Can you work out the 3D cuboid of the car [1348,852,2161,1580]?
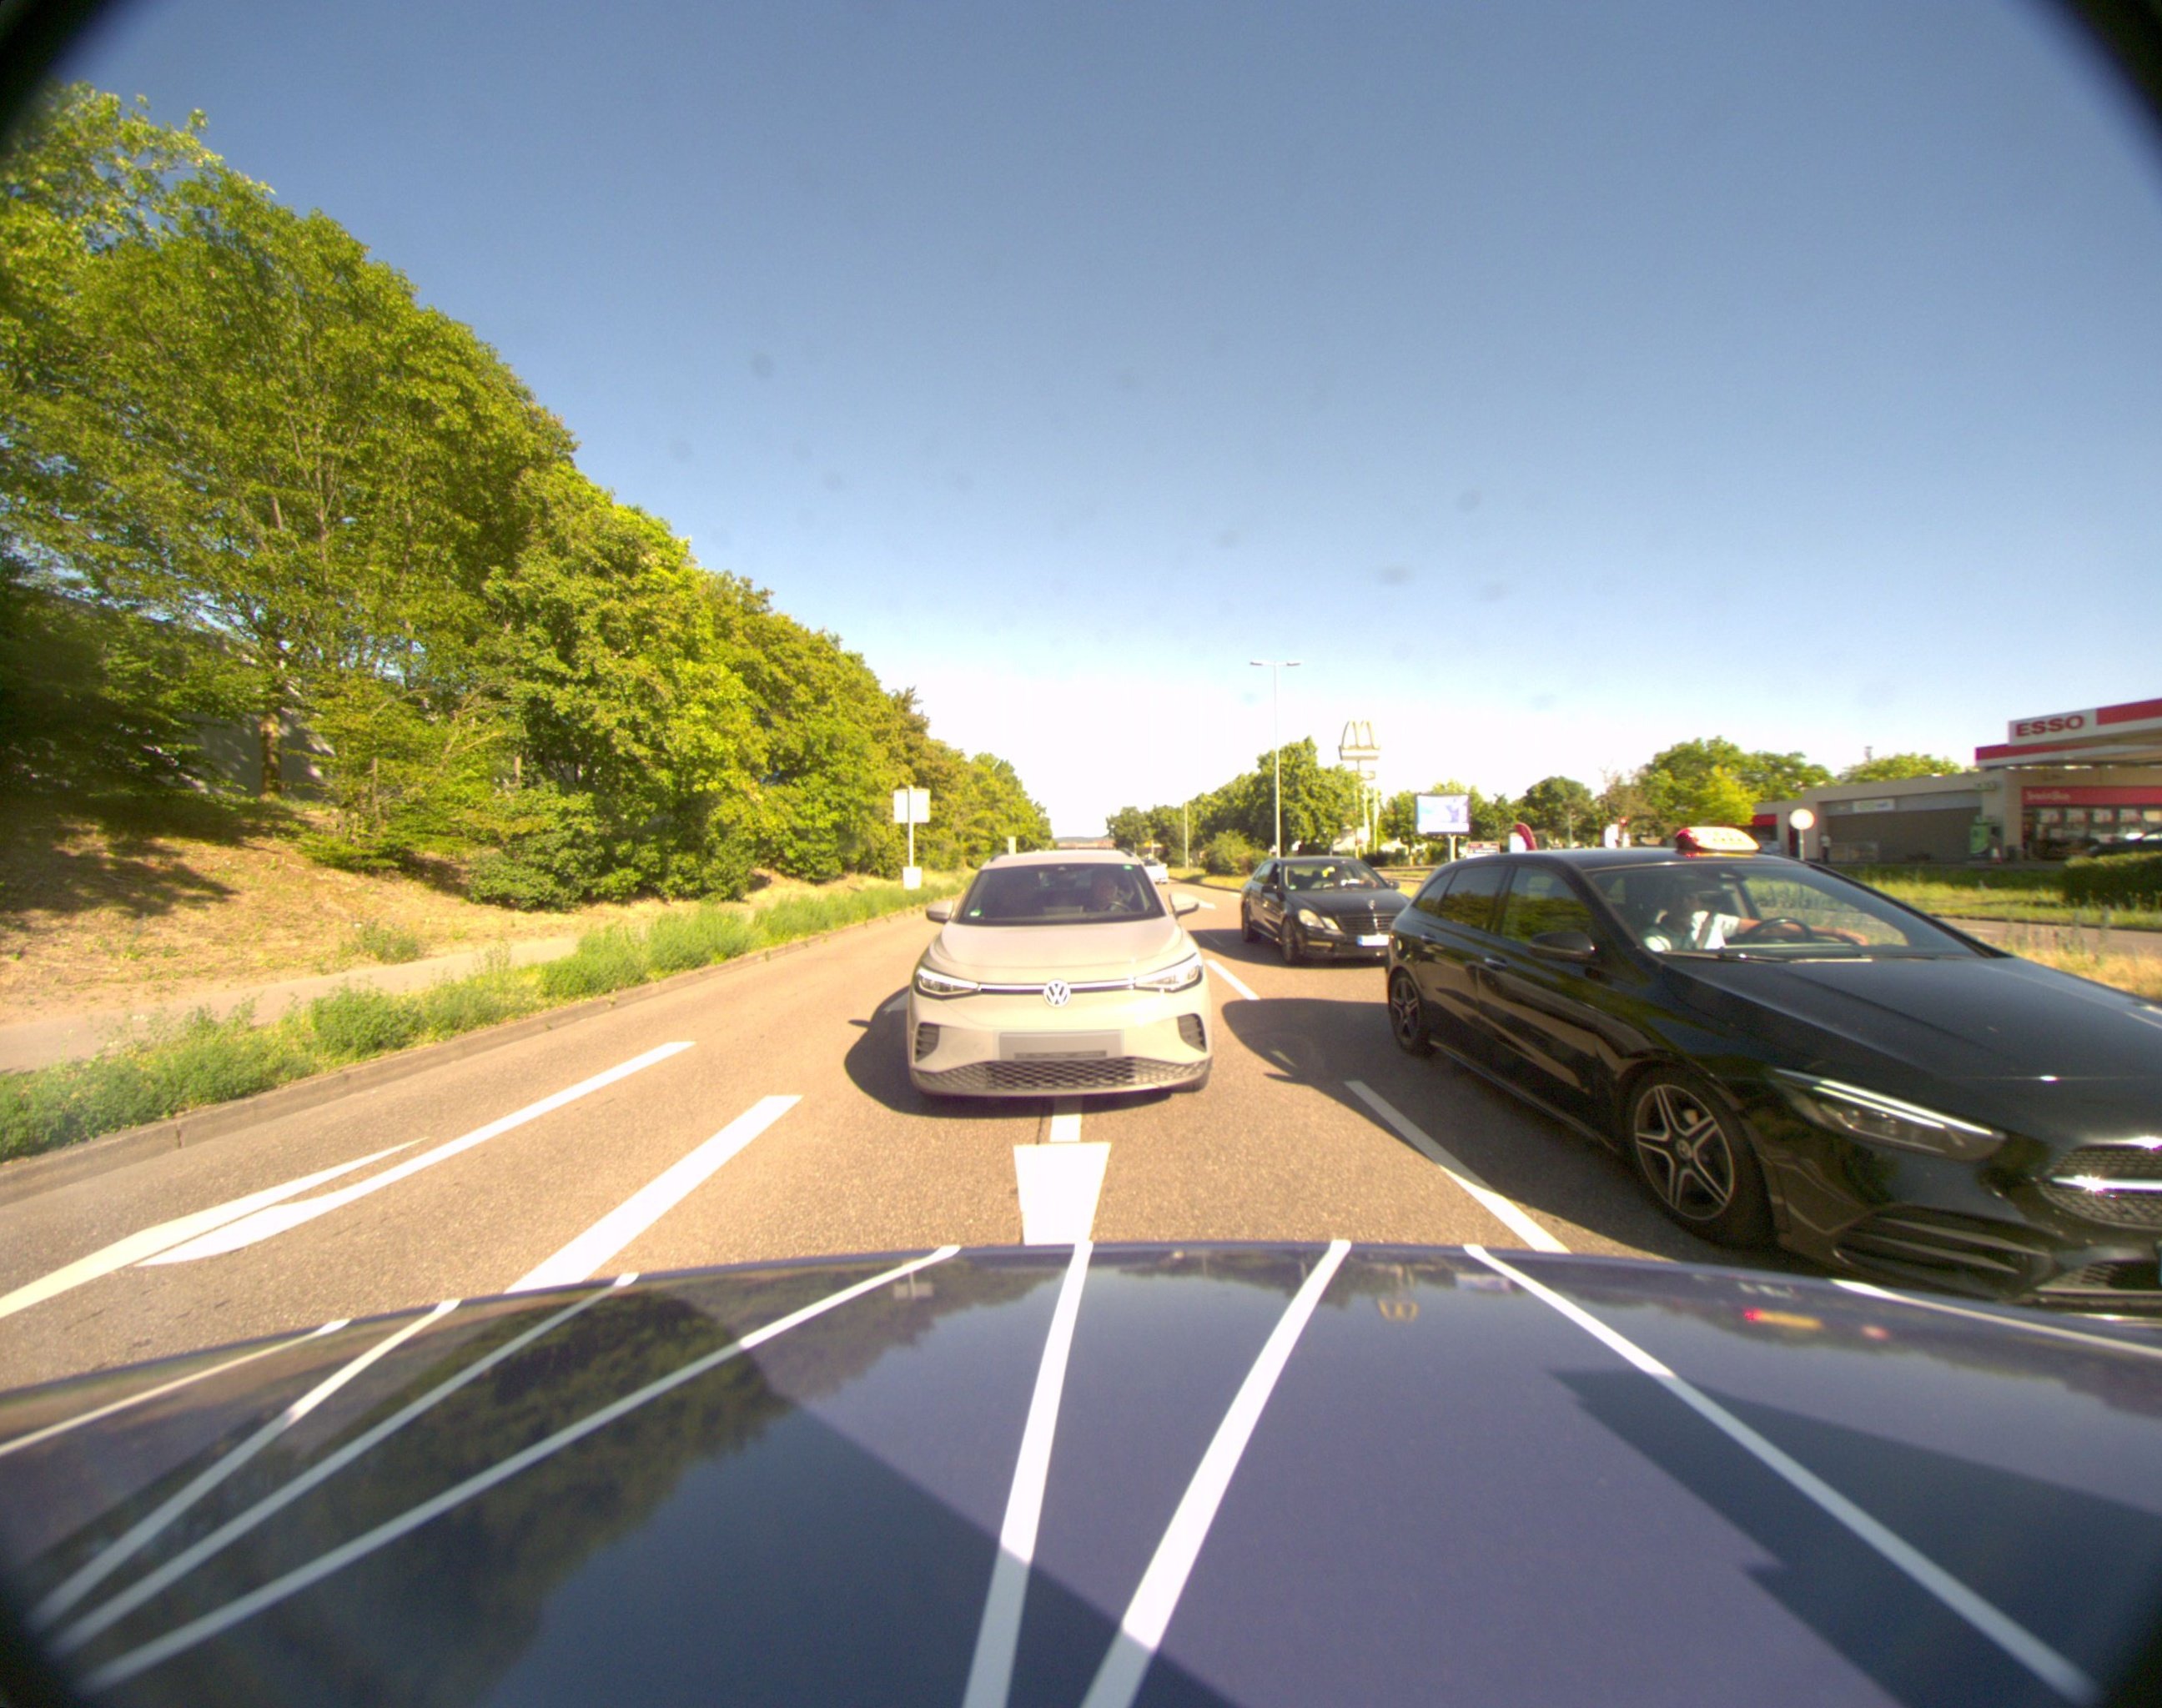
[{"bbox_3d":[3.128,0.813,3.999,1.788,1.592,4.583,-2,0,0],"label":"car"}]

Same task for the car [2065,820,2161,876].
[{"bbox_3d":[35.894,-0.219,24.863,1.807,1.716,4.322,-4,0,2],"label":"car"}]

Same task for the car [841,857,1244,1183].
[{"bbox_3d":[-0.173,0.869,5.974,2.025,1.601,4.098,-2,0,1],"label":"car"}]

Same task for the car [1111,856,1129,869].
[{"bbox_3d":[4.507,0.996,87.603,1.998,1.433,4.001,-1,0,2],"label":"car"}]

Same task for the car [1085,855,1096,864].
[{"bbox_3d":[1.662,0.908,132.356,1.998,1.433,4.000,-1,0,1],"label":"car"}]

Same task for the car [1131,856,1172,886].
[{"bbox_3d":[3.934,0.924,43.077,1.998,1.434,4.000,-2,1,2],"label":"car"}]

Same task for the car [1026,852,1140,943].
[{"bbox_3d":[0.055,0.809,16.028,2.036,1.601,4.098,-2,0,1],"label":"car"}]

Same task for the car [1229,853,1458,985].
[{"bbox_3d":[3.668,0.795,11.578,1.953,1.501,4.462,-2,1,1],"label":"car"}]
